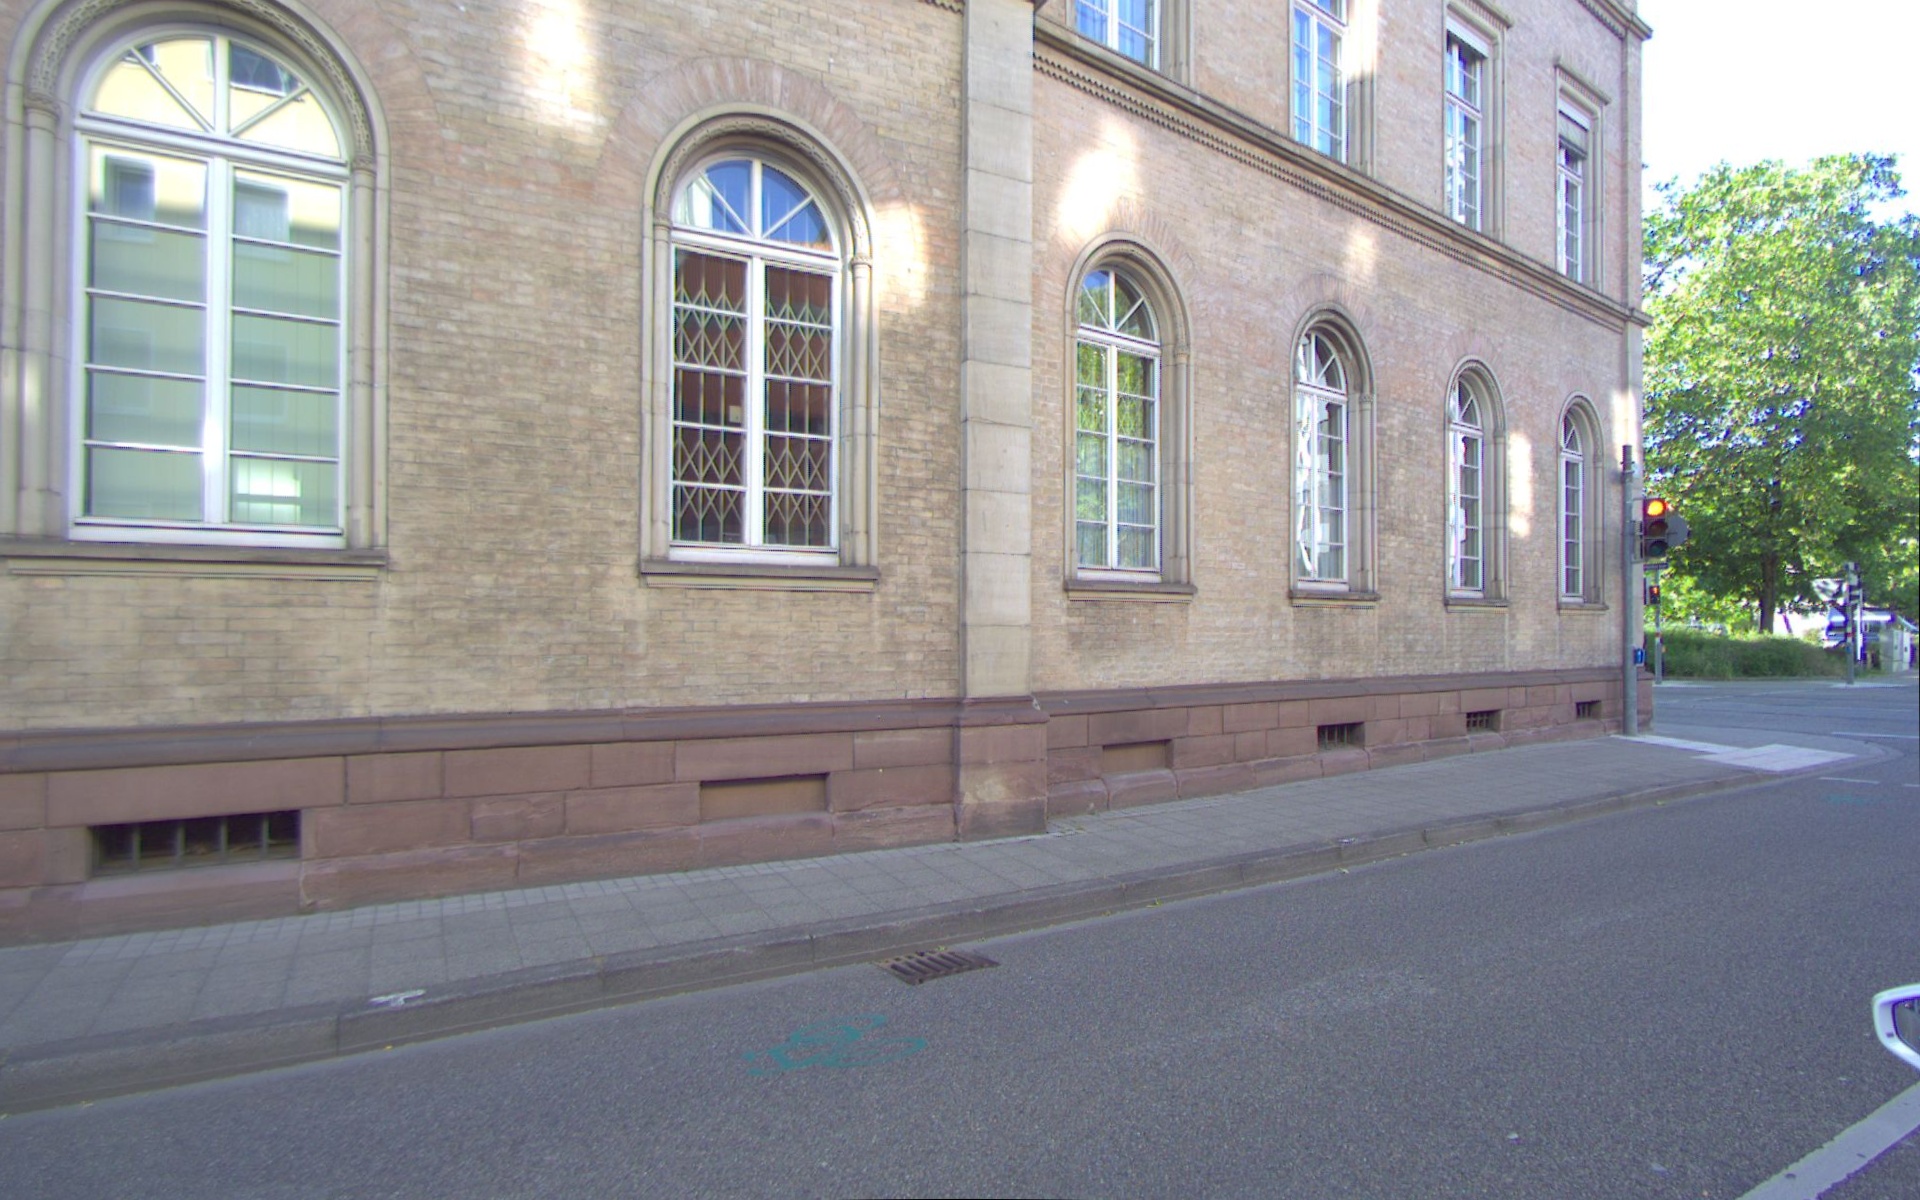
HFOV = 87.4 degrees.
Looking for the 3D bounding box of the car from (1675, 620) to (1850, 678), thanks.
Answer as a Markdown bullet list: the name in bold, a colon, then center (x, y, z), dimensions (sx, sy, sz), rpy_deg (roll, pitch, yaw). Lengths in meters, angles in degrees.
- **car**: center (26.333, 1.555, 33.095), dimensions (1.888, 1.801, 4.193), rpy_deg (1, -2, -37)
